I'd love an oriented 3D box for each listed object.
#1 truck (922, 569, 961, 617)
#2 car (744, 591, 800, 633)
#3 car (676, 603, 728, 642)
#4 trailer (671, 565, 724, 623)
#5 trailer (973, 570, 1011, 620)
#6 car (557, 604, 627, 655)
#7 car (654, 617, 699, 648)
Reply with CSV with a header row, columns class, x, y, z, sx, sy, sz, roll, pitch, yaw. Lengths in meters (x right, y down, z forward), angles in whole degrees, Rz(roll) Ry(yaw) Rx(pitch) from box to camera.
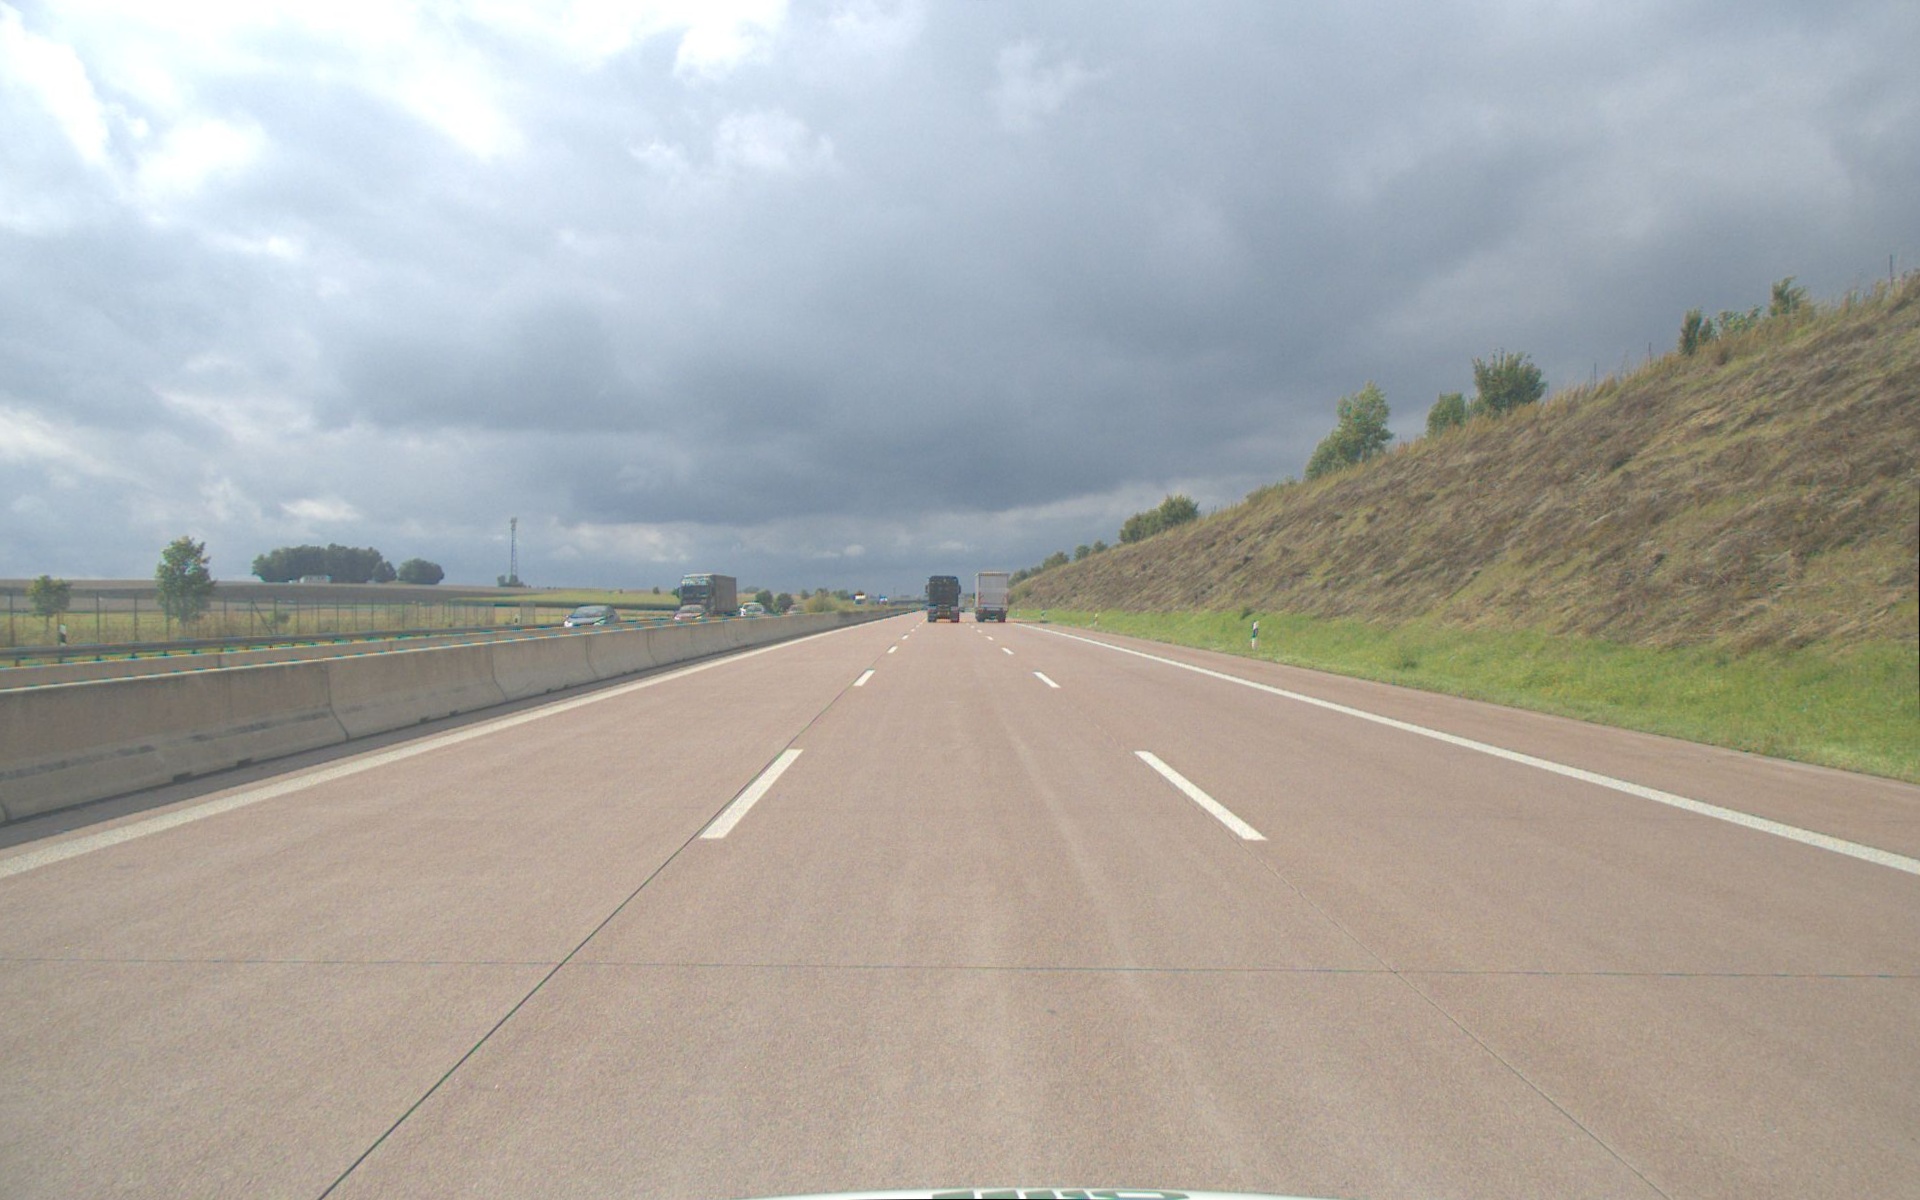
class,x,y,z,sx,sy,sz,roll,pitch,yaw
truck,-1.518,-0.500,131.308,2.790,3.612,8.315,1,-1,-2
car,-7.979,0.480,70.446,1.932,1.691,4.081,1,0,-1
car,-8.129,0.701,52.251,1.198,1.172,2.757,1,0,-1
trailer,-20.460,-0.474,129.166,2.946,4.322,7.008,1,0,0
trailer,2.654,-0.354,139.516,2.692,4.082,8.665,1,-1,-3
car,-15.815,1.242,71.290,1.945,2.049,5.050,1,-1,-1
car,-16.829,1.915,98.380,1.933,1.691,4.489,1,0,-2
